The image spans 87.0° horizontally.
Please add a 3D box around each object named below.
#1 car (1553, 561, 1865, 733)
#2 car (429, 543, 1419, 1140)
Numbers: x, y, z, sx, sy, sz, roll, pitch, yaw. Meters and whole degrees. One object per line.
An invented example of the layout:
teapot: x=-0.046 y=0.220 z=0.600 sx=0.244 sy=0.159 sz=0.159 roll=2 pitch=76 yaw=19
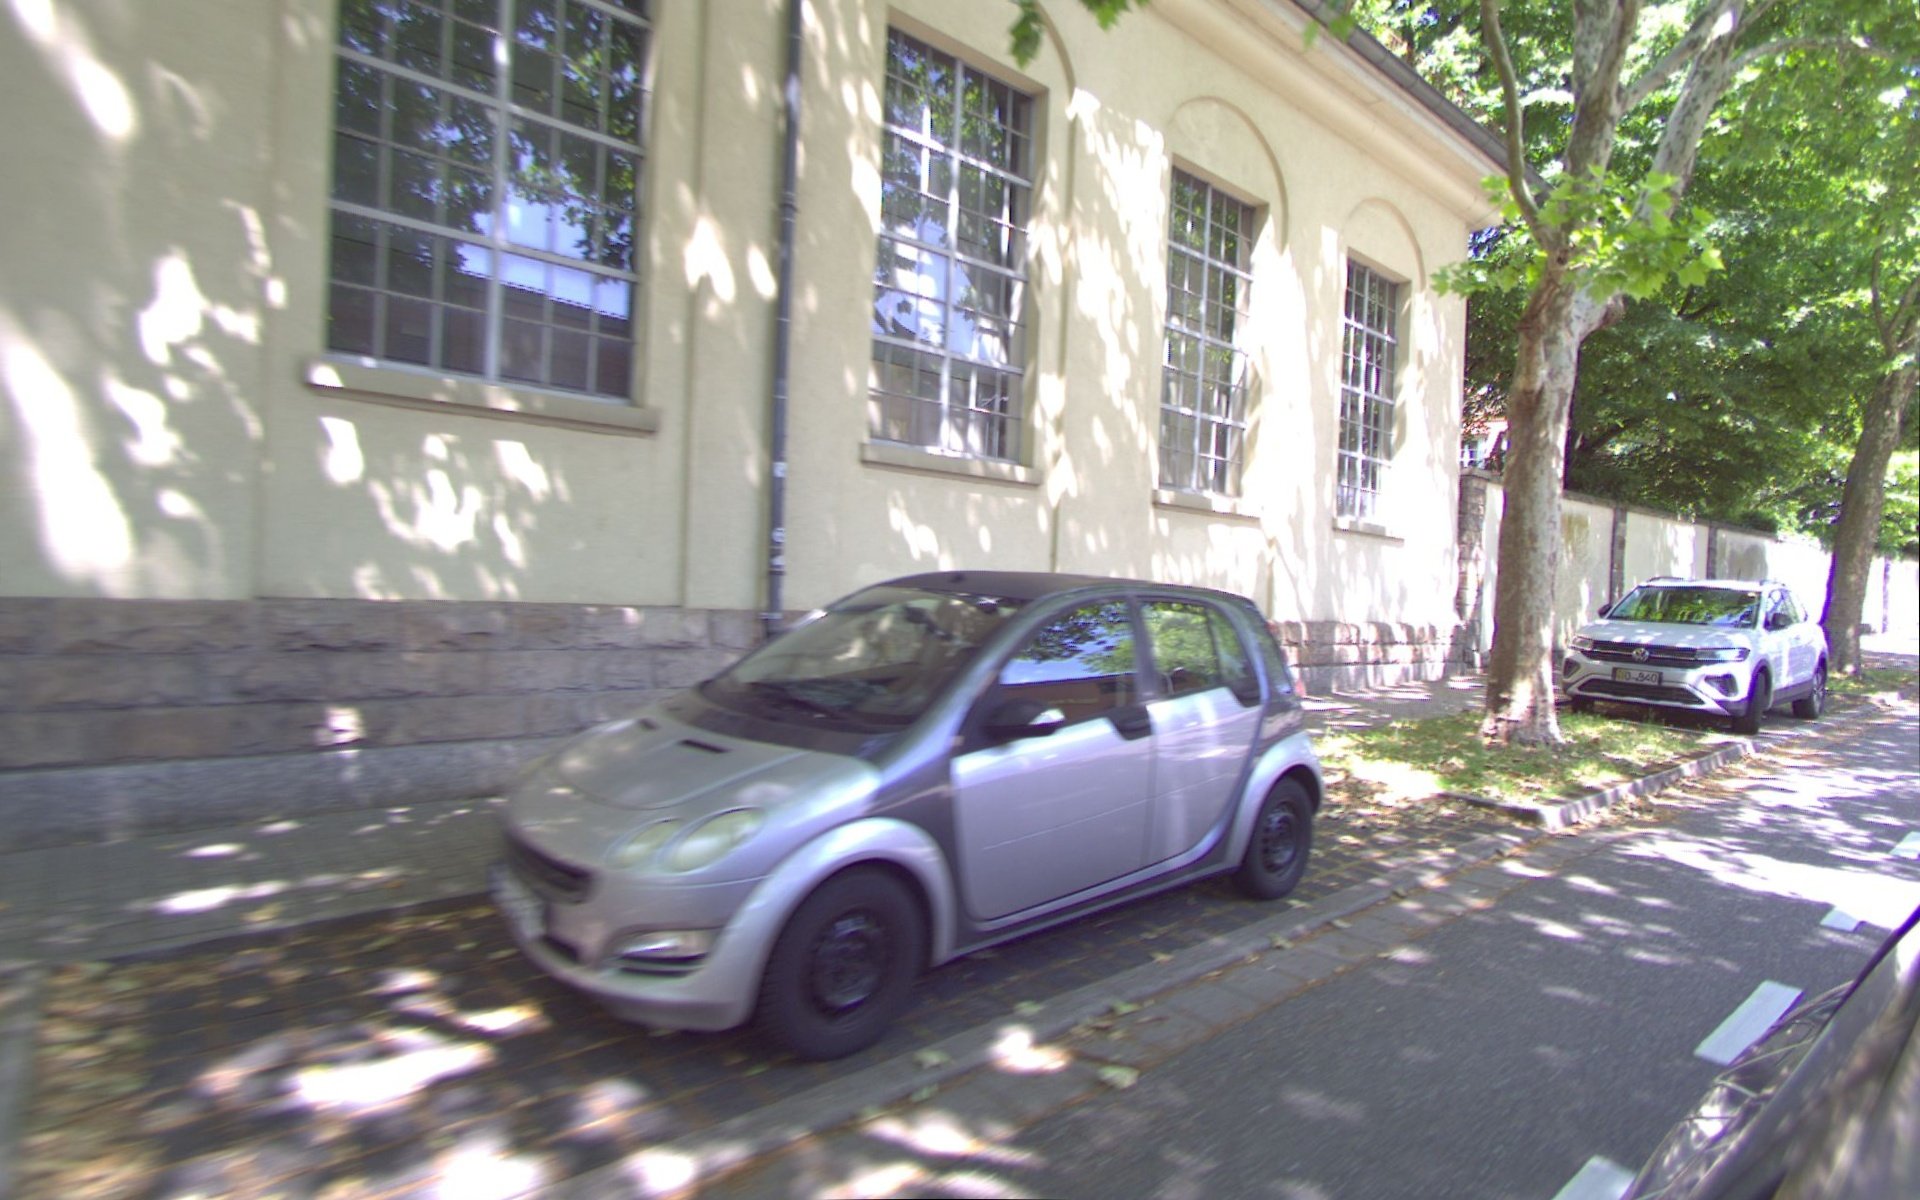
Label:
car: x=8.833 y=0.436 z=11.775 sx=4.693 sy=1.576 sz=1.746 roll=1 pitch=3 yaw=-39
car: x=0.217 y=0.552 z=4.533 sx=4.355 sy=1.457 sz=1.625 roll=0 pitch=3 yaw=-41
